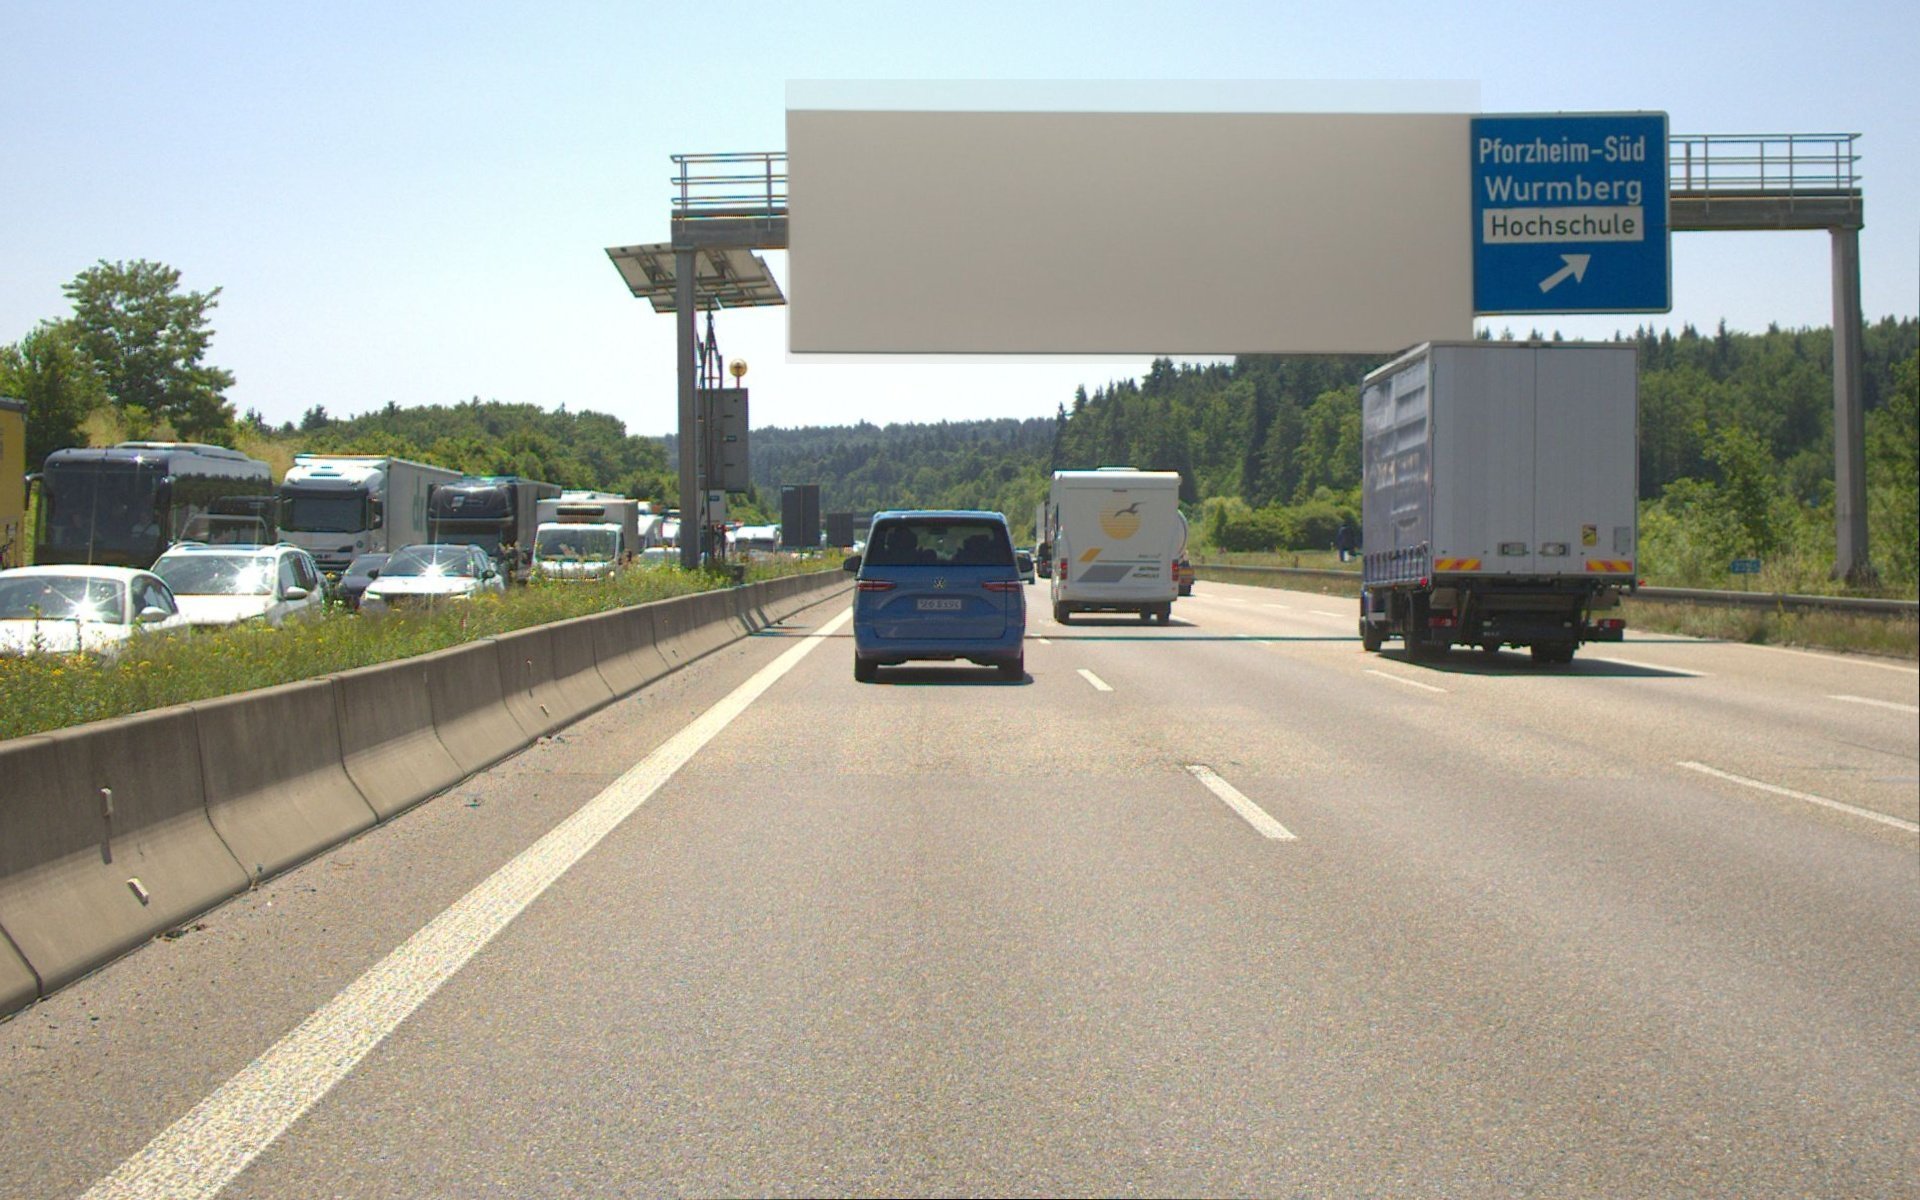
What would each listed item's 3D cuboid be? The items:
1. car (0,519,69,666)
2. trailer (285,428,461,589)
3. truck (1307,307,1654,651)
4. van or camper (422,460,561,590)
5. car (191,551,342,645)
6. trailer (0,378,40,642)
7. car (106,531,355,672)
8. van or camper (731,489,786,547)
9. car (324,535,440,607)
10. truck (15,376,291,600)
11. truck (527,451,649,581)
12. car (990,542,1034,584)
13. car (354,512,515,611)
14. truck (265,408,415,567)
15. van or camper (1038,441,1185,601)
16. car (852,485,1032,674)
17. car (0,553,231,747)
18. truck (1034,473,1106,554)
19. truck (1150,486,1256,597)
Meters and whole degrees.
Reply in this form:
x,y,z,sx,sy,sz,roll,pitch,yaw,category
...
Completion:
x,y,z,sx,sy,sz,roll,pitch,yaw,category
-12.347,-0.102,41.122,1.862,1.746,5.902,0,1,0,car
-16.592,-2.527,98.041,2.781,4.290,11.710,-1,1,1,trailer
6.751,-1.506,46.186,2.783,4.114,9.741,0,1,-2,truck
-12.571,-1.991,92.820,2.529,3.348,7.943,0,1,1,van or camper
-12.348,-0.054,61.453,1.775,1.607,4.558,0,1,0,car
-16.322,-1.365,50.029,2.650,4.130,11.856,0,1,0,trailer
-8.330,-0.016,39.676,1.811,1.508,5.030,0,1,0,car
-9.194,-3.738,157.509,2.193,2.532,6.417,-1,1,-1,van or camper
-12.809,-0.654,76.405,1.775,1.543,4.760,-1,1,0,car
-16.366,-2.189,70.683,3.056,4.207,11.488,0,1,-1,truck
-8.450,-1.883,78.524,2.120,2.832,6.212,0,1,0,truck
2.237,-1.618,149.539,1.818,1.788,3.894,0,1,0,car
-8.360,-0.618,55.076,1.811,1.508,5.030,0,1,0,car
-16.692,-2.977,92.980,2.781,4.100,7.030,-1,1,-1,truck
3.003,-1.676,69.700,2.603,3.068,7.183,0,2,0,van or camper
-0.224,-0.274,38.916,1.909,2.007,4.000,-1,1,-1,car
-7.586,0.356,29.105,1.811,1.508,4.818,0,1,0,car
5.801,-4.553,182.114,3.487,4.156,8.642,0,1,0,truck
8.172,-2.049,116.698,2.928,3.562,8.527,-2,2,0,truck
